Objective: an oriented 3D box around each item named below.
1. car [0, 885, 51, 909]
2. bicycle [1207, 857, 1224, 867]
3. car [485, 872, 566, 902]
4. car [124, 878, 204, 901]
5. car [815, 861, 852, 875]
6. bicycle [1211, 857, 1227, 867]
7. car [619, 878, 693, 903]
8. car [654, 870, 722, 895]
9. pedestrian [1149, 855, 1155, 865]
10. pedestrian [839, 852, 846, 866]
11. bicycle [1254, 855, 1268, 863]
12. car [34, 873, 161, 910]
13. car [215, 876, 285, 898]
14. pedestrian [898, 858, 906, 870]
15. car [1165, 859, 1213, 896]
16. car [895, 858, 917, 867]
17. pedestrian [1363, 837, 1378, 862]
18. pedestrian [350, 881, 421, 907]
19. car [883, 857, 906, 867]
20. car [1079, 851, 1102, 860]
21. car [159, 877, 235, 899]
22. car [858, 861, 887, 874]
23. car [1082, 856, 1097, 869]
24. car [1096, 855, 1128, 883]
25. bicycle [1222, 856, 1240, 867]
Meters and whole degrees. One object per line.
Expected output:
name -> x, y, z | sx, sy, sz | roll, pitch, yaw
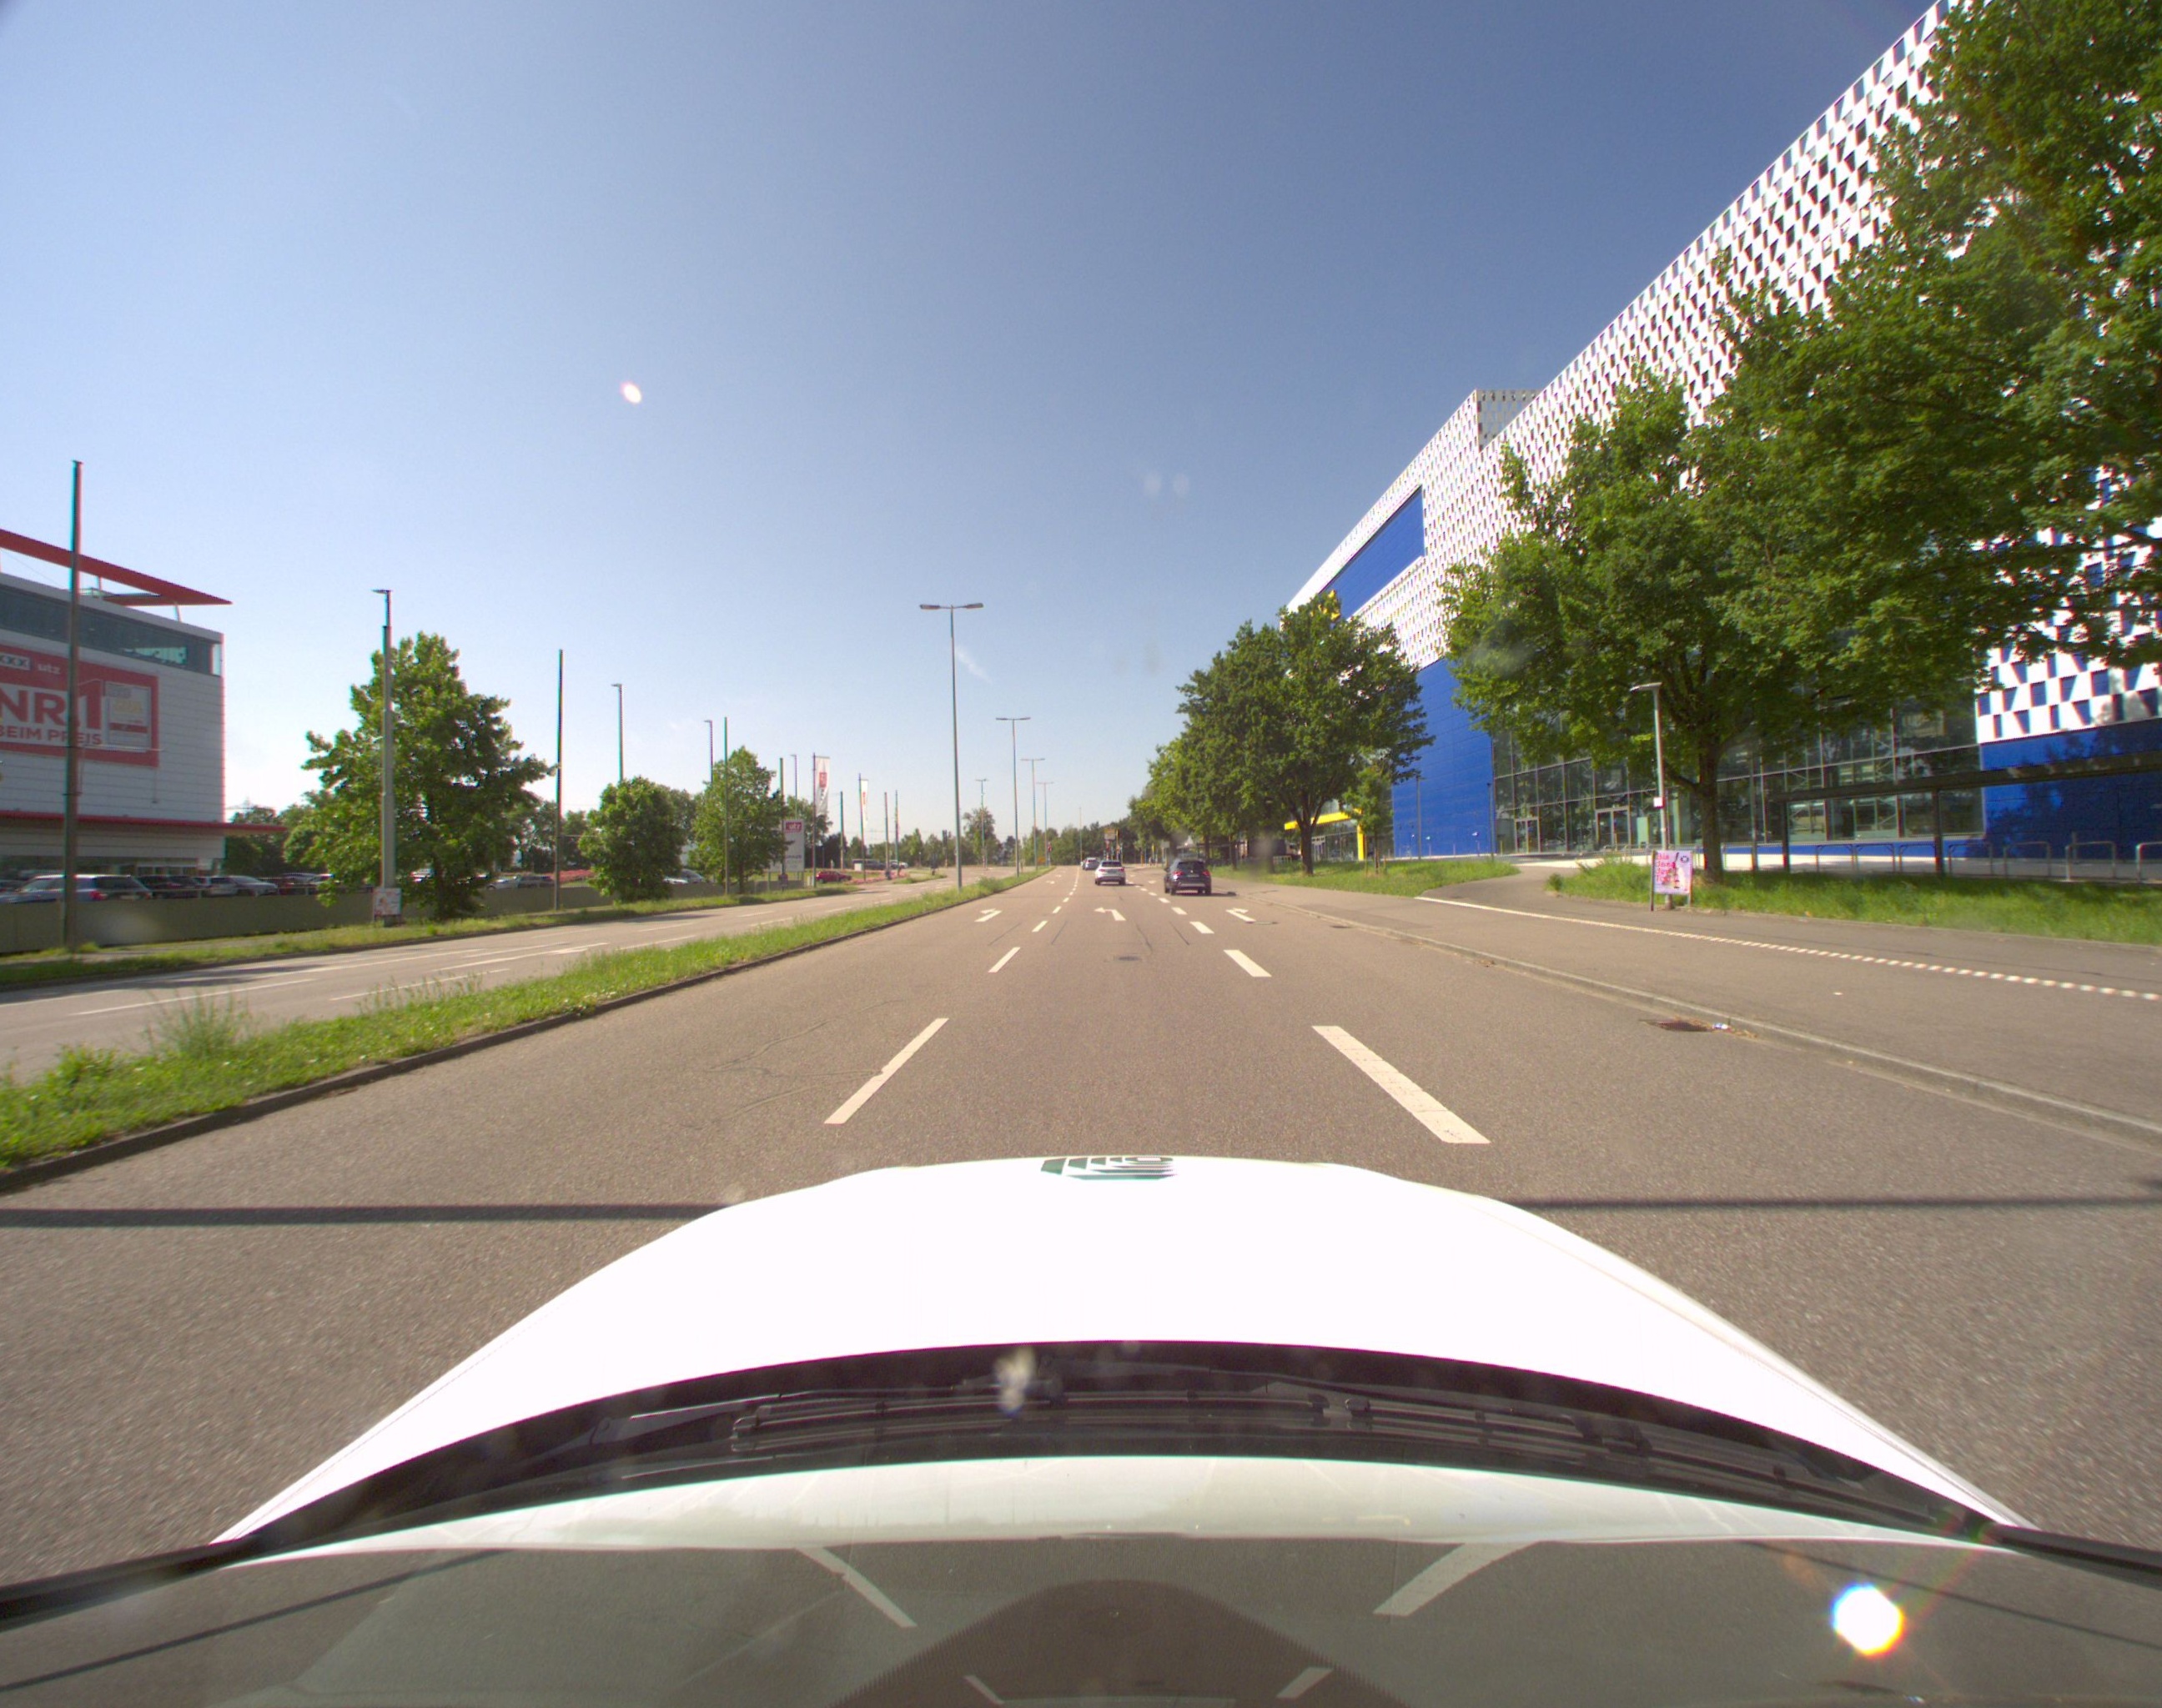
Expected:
car -> -56.241, 2.240, 42.268 | 3.489, 1.199, 1.479 | -1, -2, -2
bicycle -> 14.956, 0.865, 90.431 | 1.753, 1.096, 0.452 | -2, 0, -1
car -> -42.483, 2.529, 62.371 | 4.660, 2.013, 2.027 | -2, 0, -4
car -> -55.965, 2.176, 49.729 | 3.079, 1.294, 1.515 | -1, -2, -1
car -> -31.035, 1.762, 102.255 | 4.176, 1.606, 1.823 | -1, -2, -5
bicycle -> 15.679, 0.886, 92.542 | 1.753, 1.096, 0.452 | -2, 0, -1
car -> -31.214, 2.664, 59.931 | 4.402, 1.627, 1.869 | -2, -2, -3
car -> -31.224, 2.275, 64.736 | 4.400, 1.843, 1.944 | -2, -1, -1
pedestrian -> 11.281, 0.895, 129.283 | 0.768, 1.510, 1.010 | -2, 1, 11
pedestrian -> -35.333, 0.715, 120.468 | 0.713, 1.972, 0.919 | -2, -2, 4
bicycle -> 21.129, 0.592, 95.656 | 1.556, 0.843, 0.434 | -2, 0, 1
car -> -30.518, 1.165, 25.303 | 2.507, 1.060, 1.070 | -1, -2, -3
car -> -55.971, 2.214, 54.891 | 3.079, 1.330, 1.514 | -1, -2, -2
pedestrian -> -26.041, 1.513, 118.491 | 0.834, 1.707, 0.908 | -2, 0, 12
car -> 4.622, 0.966, 35.204 | 1.664, 1.523, 3.377 | -1, 0, 1
car -> -29.555, 1.443, 137.706 | 3.337, 1.500, 1.407 | -1, -2, -5
pedestrian -> 19.771, -0.301, 55.611 | 0.686, 1.612, 0.770 | -3, 0, -4
pedestrian -> -56.674, 3.226, 66.422 | 1.974, 2.014, 4.025 | -3, -2, 30
car -> -30.499, 1.364, 133.348 | 3.377, 1.500, 1.408 | -1, -2, -3
car -> 1.760, 0.318, 155.854 | 4.085, 1.547, 1.788 | -1, -1, -19
car -> -56.499, 2.147, 52.078 | 3.079, 1.330, 1.514 | -1, -2, -2
car -> -32.471, 2.129, 126.709 | 3.953, 1.925, 1.826 | 0, 1, 21
car -> 1.113, 1.086, 103.129 | 1.701, 1.573, 4.171 | -2, 0, -2
car -> 1.847, 0.902, 49.829 | 1.627, 1.498, 3.867 | -1, 2, -2
bicycle -> 15.543, 0.770, 84.210 | 1.753, 1.096, 0.452 | -2, 0, -1
